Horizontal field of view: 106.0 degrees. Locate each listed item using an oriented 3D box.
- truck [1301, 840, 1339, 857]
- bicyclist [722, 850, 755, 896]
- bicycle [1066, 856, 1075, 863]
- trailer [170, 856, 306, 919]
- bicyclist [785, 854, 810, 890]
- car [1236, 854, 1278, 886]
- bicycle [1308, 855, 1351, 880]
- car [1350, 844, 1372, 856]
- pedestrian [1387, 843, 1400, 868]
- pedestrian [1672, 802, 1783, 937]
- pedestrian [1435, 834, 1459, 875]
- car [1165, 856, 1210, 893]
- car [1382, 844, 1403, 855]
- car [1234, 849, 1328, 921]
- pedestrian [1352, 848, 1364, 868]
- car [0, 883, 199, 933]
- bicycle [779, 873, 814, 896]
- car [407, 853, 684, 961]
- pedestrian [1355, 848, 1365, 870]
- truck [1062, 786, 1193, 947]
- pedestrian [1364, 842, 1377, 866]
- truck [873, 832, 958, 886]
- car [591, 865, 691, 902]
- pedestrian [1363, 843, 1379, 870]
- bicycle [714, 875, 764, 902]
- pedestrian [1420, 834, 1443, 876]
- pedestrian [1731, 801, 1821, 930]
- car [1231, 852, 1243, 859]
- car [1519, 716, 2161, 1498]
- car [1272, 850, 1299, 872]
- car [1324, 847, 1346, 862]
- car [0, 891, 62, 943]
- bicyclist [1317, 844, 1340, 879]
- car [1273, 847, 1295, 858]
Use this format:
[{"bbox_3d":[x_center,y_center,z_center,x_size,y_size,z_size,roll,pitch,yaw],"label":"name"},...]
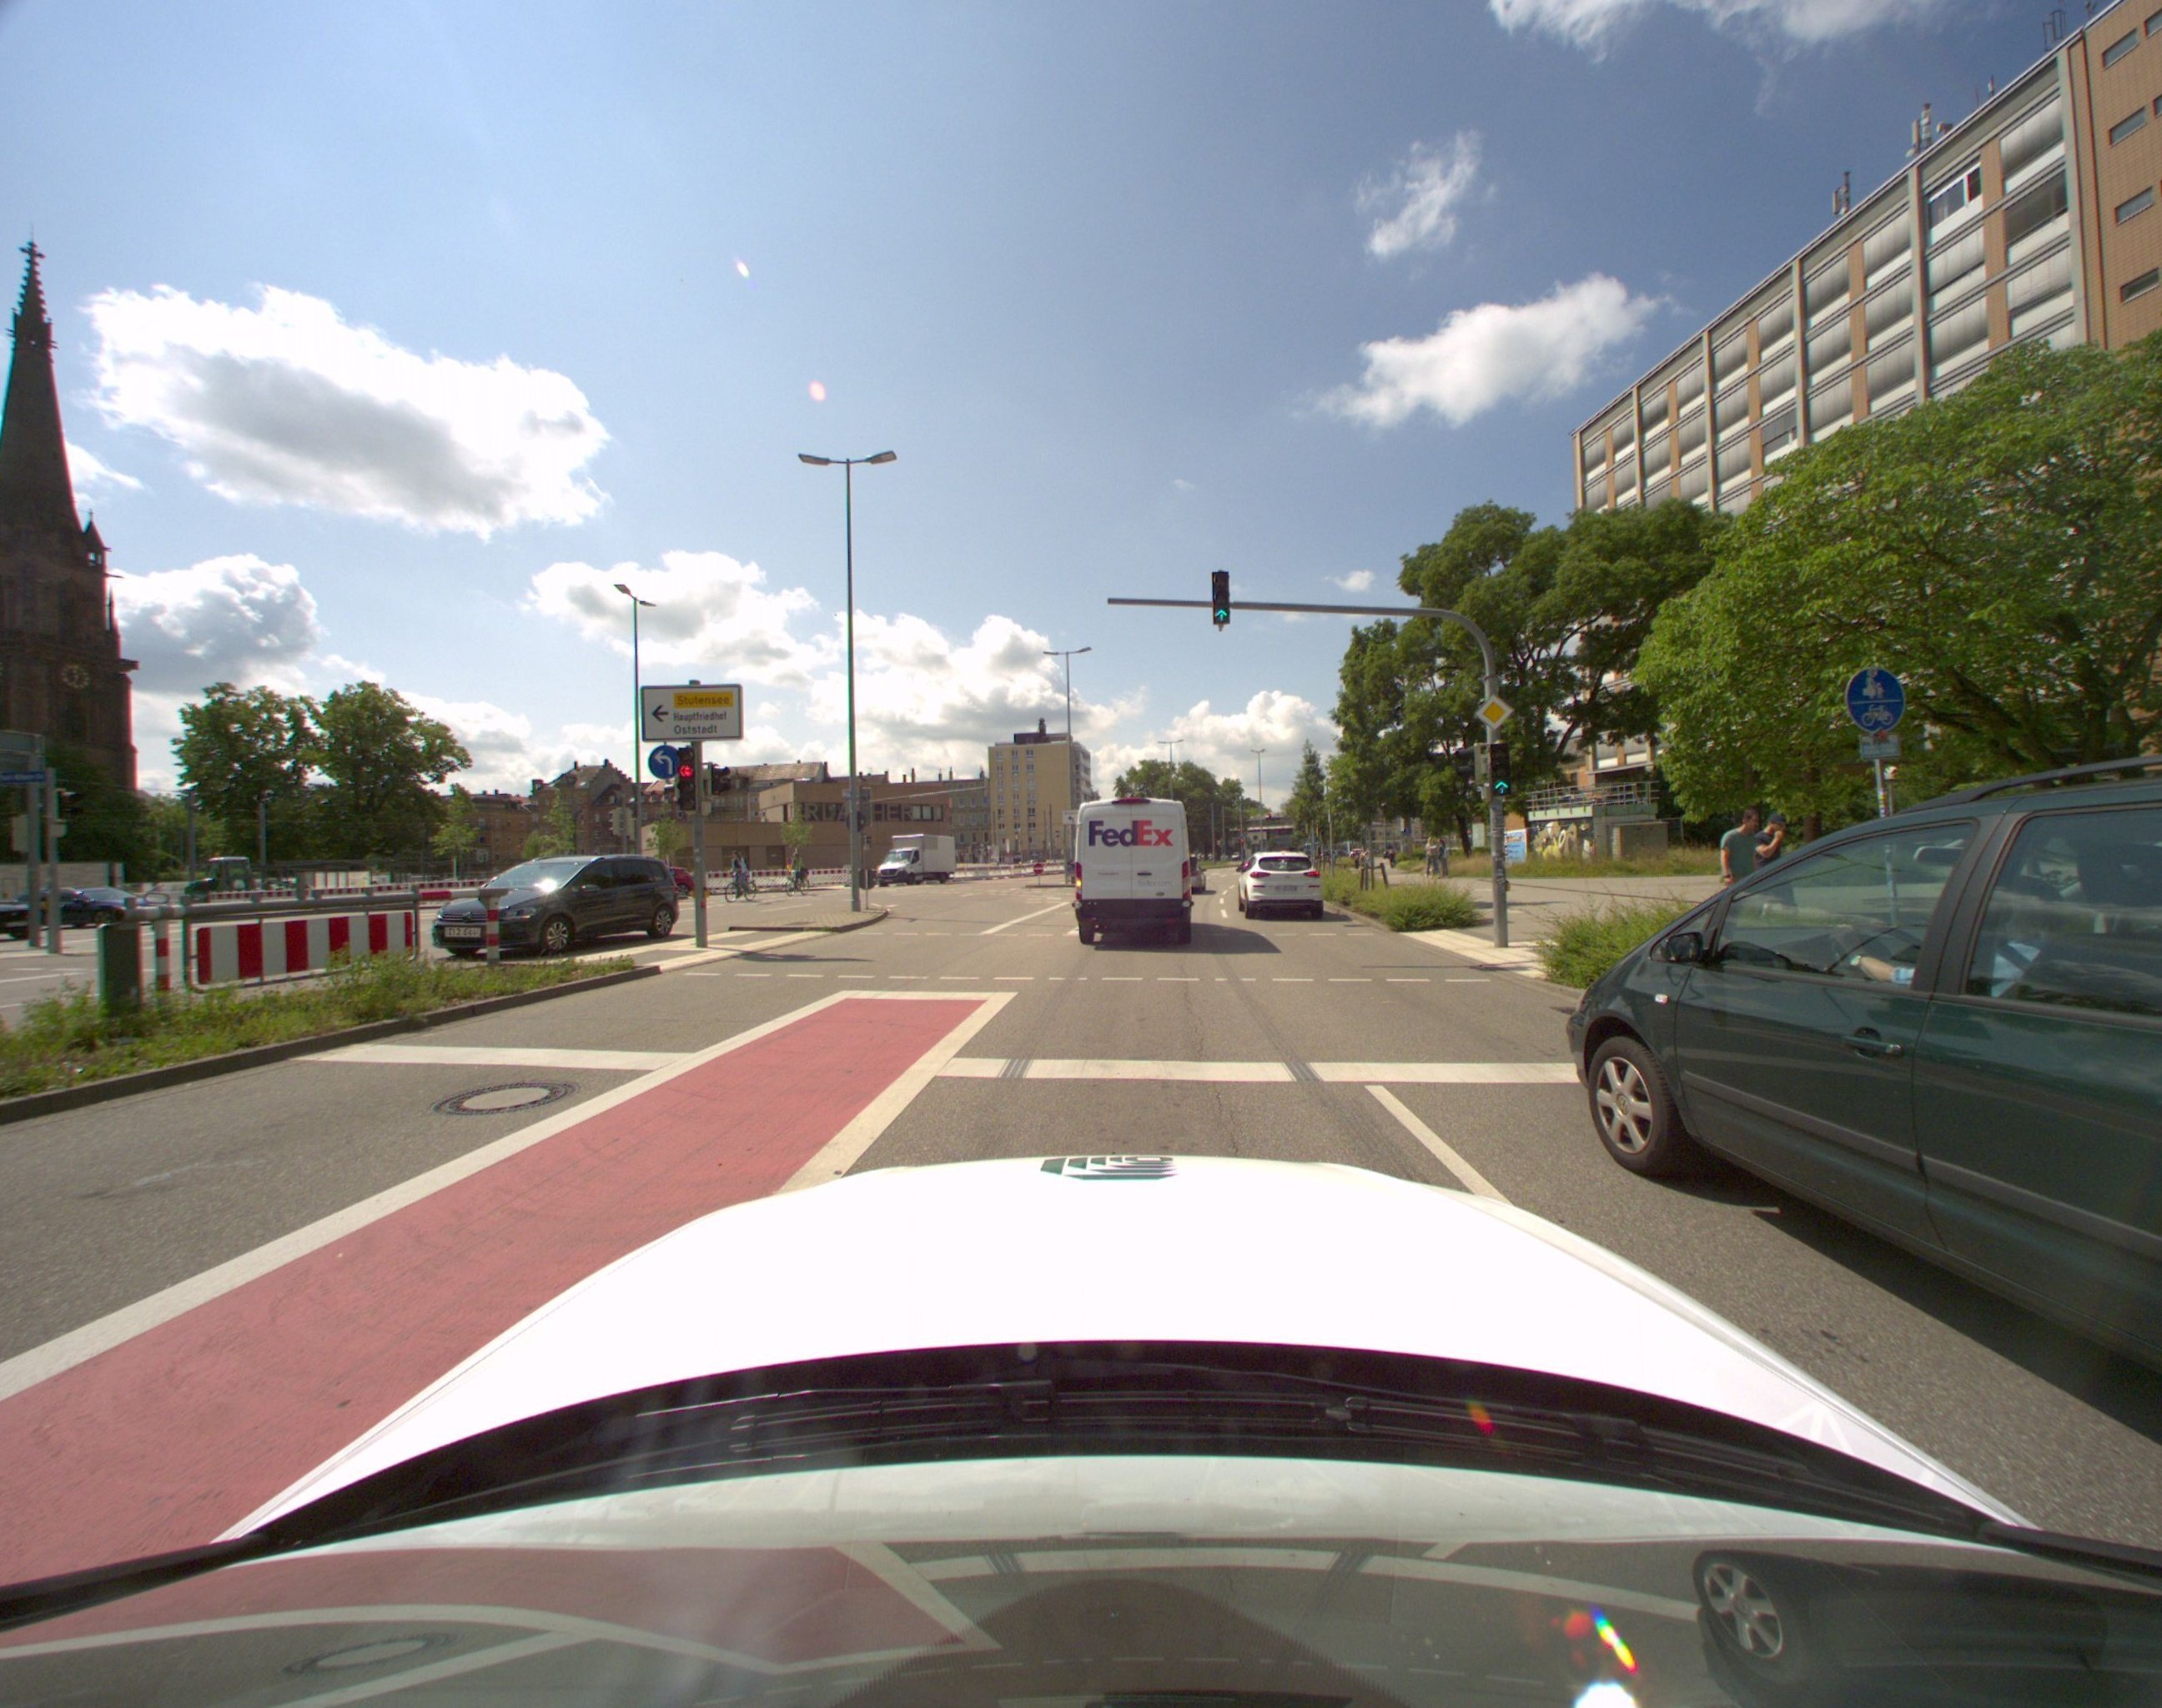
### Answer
[{"bbox_3d":[43.595,-1.073,148.656,2.858,2.852,8.845,-2,0,44],"label":"truck"},{"bbox_3d":[-12.462,0.684,29.635,0.772,1.618,0.844,-2,0,4],"label":"bicyclist"},{"bbox_3d":[-1.993,0.991,150.374,0.514,1.147,2.110,0,-1,-38],"label":"bicycle"},{"bbox_3d":[-41.220,1.562,39.914,1.974,2.914,4.393,-1,-1,37],"label":"trailer"},{"bbox_3d":[-11.970,0.762,34.391,0.561,1.461,0.839,-2,0,12],"label":"bicyclist"},{"bbox_3d":[8.797,0.766,40.921,1.903,1.420,3.929,-2,0,10],"label":"car"},{"bbox_3d":[11.871,0.660,38.945,1.799,1.050,0.593,-4,-2,7],"label":"bicycle"},{"bbox_3d":[39.632,-0.593,115.340,1.863,1.641,3.982,-2,0,36],"label":"car"},{"bbox_3d":[23.374,0.116,60.932,0.751,1.821,0.676,-1,-1,10],"label":"pedestrian"},{"bbox_3d":[9.079,0.208,11.474,0.748,1.777,0.880,-3,0,-5],"label":"pedestrian"},{"bbox_3d":[16.349,0.023,36.370,0.745,1.752,0.611,-3,0,7],"label":"pedestrian"},{"bbox_3d":[4.467,0.827,34.276,1.732,1.391,4.188,-2,0,7],"label":"car"},{"bbox_3d":[46.615,-0.666,121.894,1.863,1.641,3.982,-2,0,36],"label":"car"},{"bbox_3d":[5.079,0.720,21.229,1.871,1.641,4.241,-2,0,7],"label":"car"},{"bbox_3d":[22.357,0.317,65.783,0.752,1.590,0.762,-1,-1,3],"label":"pedestrian"},{"bbox_3d":[-35.390,1.926,29.404,4.644,1.486,1.997,-2,0,-4],"label":"car"},{"bbox_3d":[-11.966,1.273,34.316,0.563,0.889,1.749,-2,0,12],"label":"bicycle"},{"bbox_3d":[-9.220,0.819,14.527,1.871,1.623,4.162,-1,0,6],"label":"car"},{"bbox_3d":[20.738,0.389,60.519,0.583,1.626,0.729,-1,-1,9],"label":"pedestrian"},{"bbox_3d":[1.131,0.234,16.430,2.125,2.640,5.929,-1,0,7],"label":"truck"},{"bbox_3d":[21.428,0.005,60.293,0.751,1.821,0.640,-1,-1,9],"label":"pedestrian"},{"bbox_3d":[-10.010,0.350,50.143,1.978,3.068,7.360,-1,-1,16],"label":"truck"},{"bbox_3d":[-20.149,1.333,37.443,3.915,1.486,1.982,-2,0,-28],"label":"car"},{"bbox_3d":[20.548,0.180,57.673,0.753,1.821,0.781,-5,-1,3],"label":"pedestrian"},{"bbox_3d":[-12.440,1.241,29.666,0.772,0.889,2.111,-2,0,4],"label":"bicycle"},{"bbox_3d":[15.475,0.051,35.966,0.745,1.802,0.611,-3,0,7],"label":"pedestrian"},{"bbox_3d":[9.814,0.161,11.522,0.665,1.746,0.608,-3,0,-5],"label":"pedestrian"},{"bbox_3d":[37.085,0.358,193.267,1.976,1.574,4.200,-1,-1,23],"label":"car"},{"bbox_3d":[3.312,0.560,2.457,1.787,1.723,4.451,0,0,3],"label":"car"},{"bbox_3d":[16.920,0.544,67.259,1.866,1.641,3.976,-2,0,18],"label":"car"},{"bbox_3d":[31.392,0.058,100.737,1.863,1.641,3.981,-2,0,28],"label":"car"},{"bbox_3d":[-34.103,1.971,24.434,4.481,1.486,2.000,-2,0,0],"label":"car"},{"bbox_3d":[11.830,0.370,38.957,0.823,1.601,0.581,-4,-2,8],"label":"bicyclist"},{"bbox_3d":[37.141,-0.310,148.932,4.768,1.800,1.702,-2,-1,-45],"label":"car"}]
